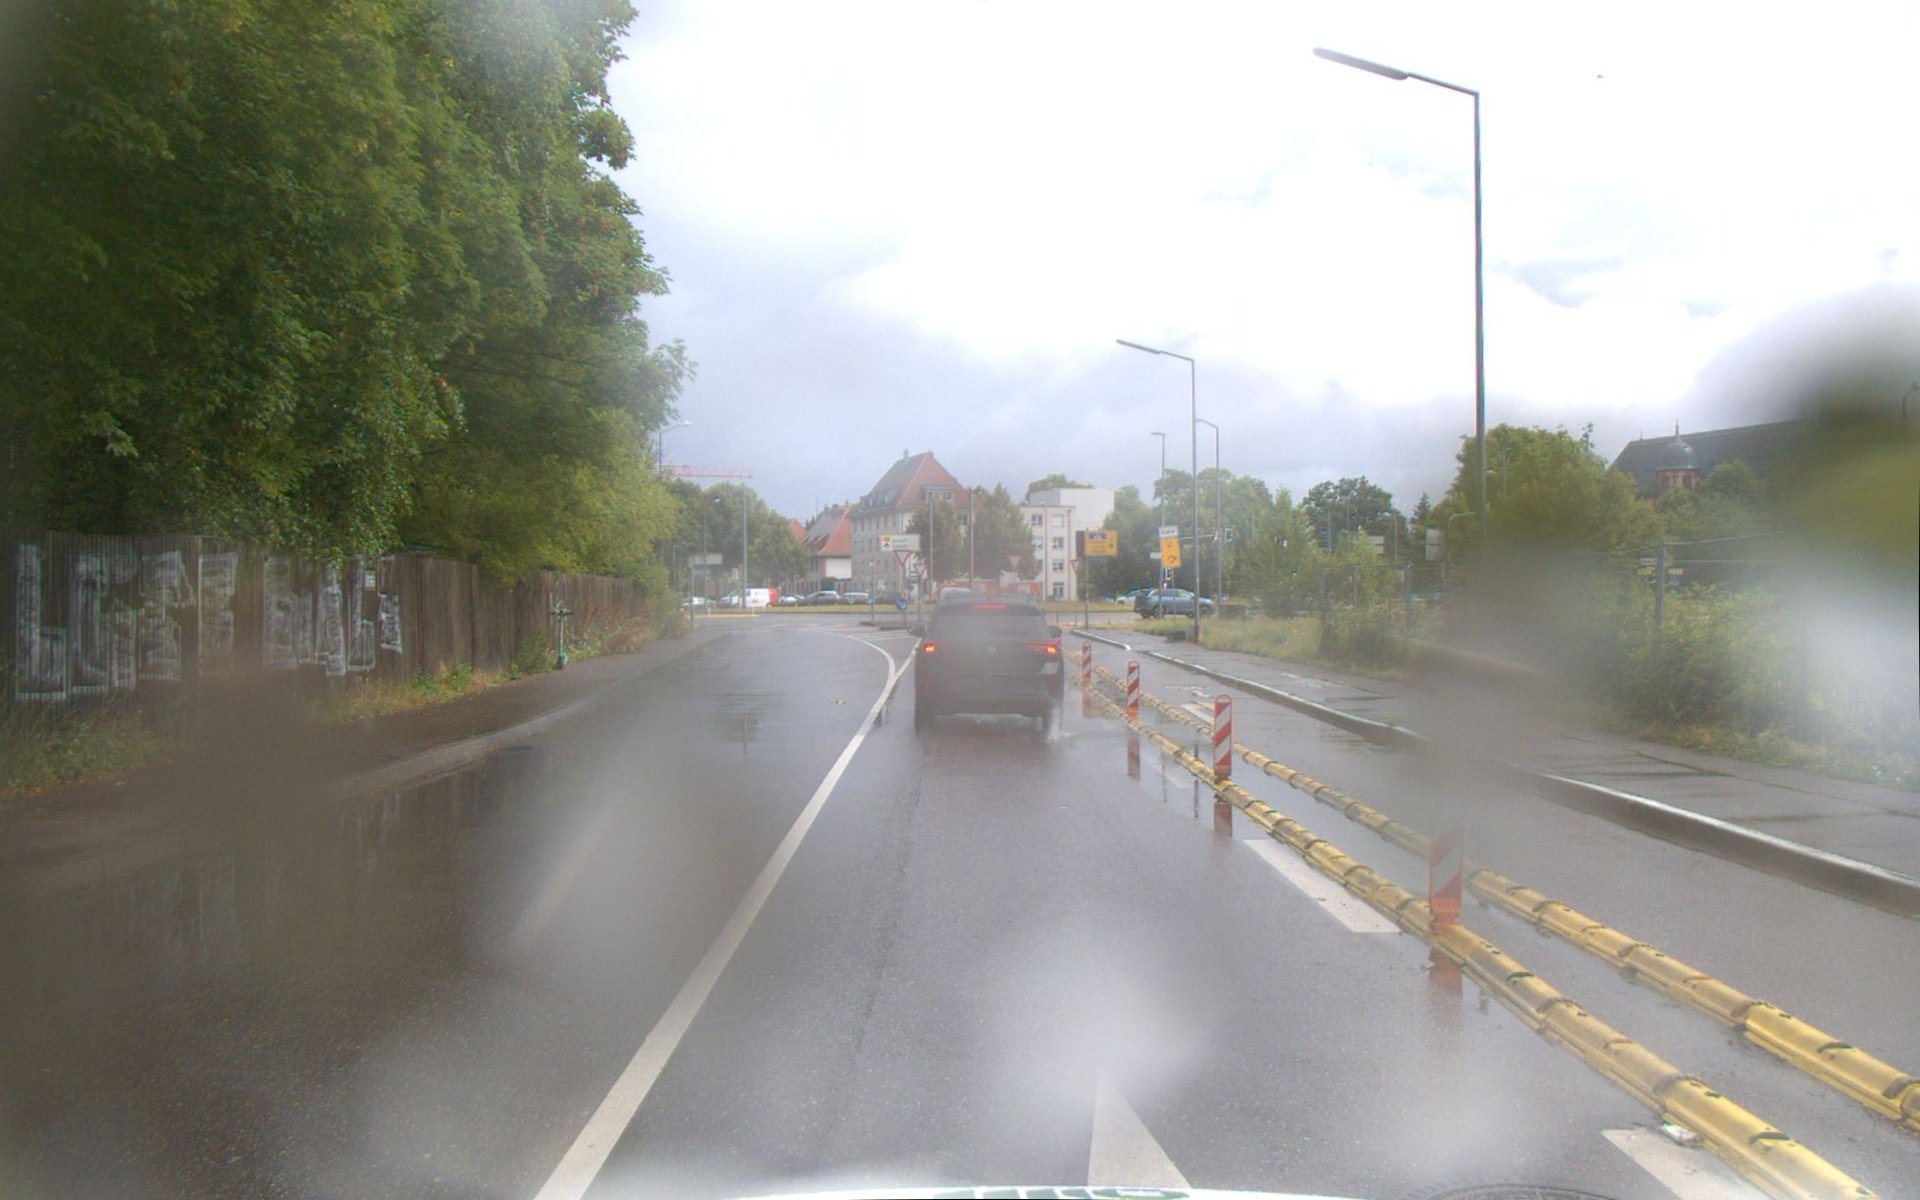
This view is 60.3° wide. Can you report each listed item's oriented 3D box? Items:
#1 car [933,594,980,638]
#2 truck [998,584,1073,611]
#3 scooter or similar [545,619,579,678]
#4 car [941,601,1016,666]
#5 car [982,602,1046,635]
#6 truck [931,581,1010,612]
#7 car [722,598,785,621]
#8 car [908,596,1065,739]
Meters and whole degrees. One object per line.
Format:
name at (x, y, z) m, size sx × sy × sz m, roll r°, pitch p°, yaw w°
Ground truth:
car at (-0.196, 0.657, 71.740) m, size 1.827 × 1.841 × 4.401 m, roll 0°, pitch 0°, yaw -3°
truck at (7.034, -0.238, 154.356) m, size 6.559 × 2.485 × 2.436 m, roll -1°, pitch 0°, yaw 15°
scooter or similar at (-8.187, 0.981, 34.087) m, size 0.551 × 1.183 × 1.206 m, roll 0°, pitch 0°, yaw -8°
car at (0.422, 0.797, 41.405) m, size 1.700 × 1.540 × 3.602 m, roll 0°, pitch 0°, yaw -2°
car at (2.836, 0.934, 86.418) m, size 1.635 × 1.673 × 3.945 m, roll 0°, pitch 0°, yaw 31°
truck at (0.971, -0.311, 146.679) m, size 6.920 × 2.696 × 2.330 m, roll 0°, pitch 0°, yaw 1°
car at (-17.319, 0.800, 138.896) m, size 5.082 × 1.909 × 1.867 m, roll -1°, pitch 0°, yaw -39°
car at (0.248, 0.776, 20.549) m, size 1.674 × 1.601 × 3.680 m, roll 1°, pitch 0°, yaw -3°
